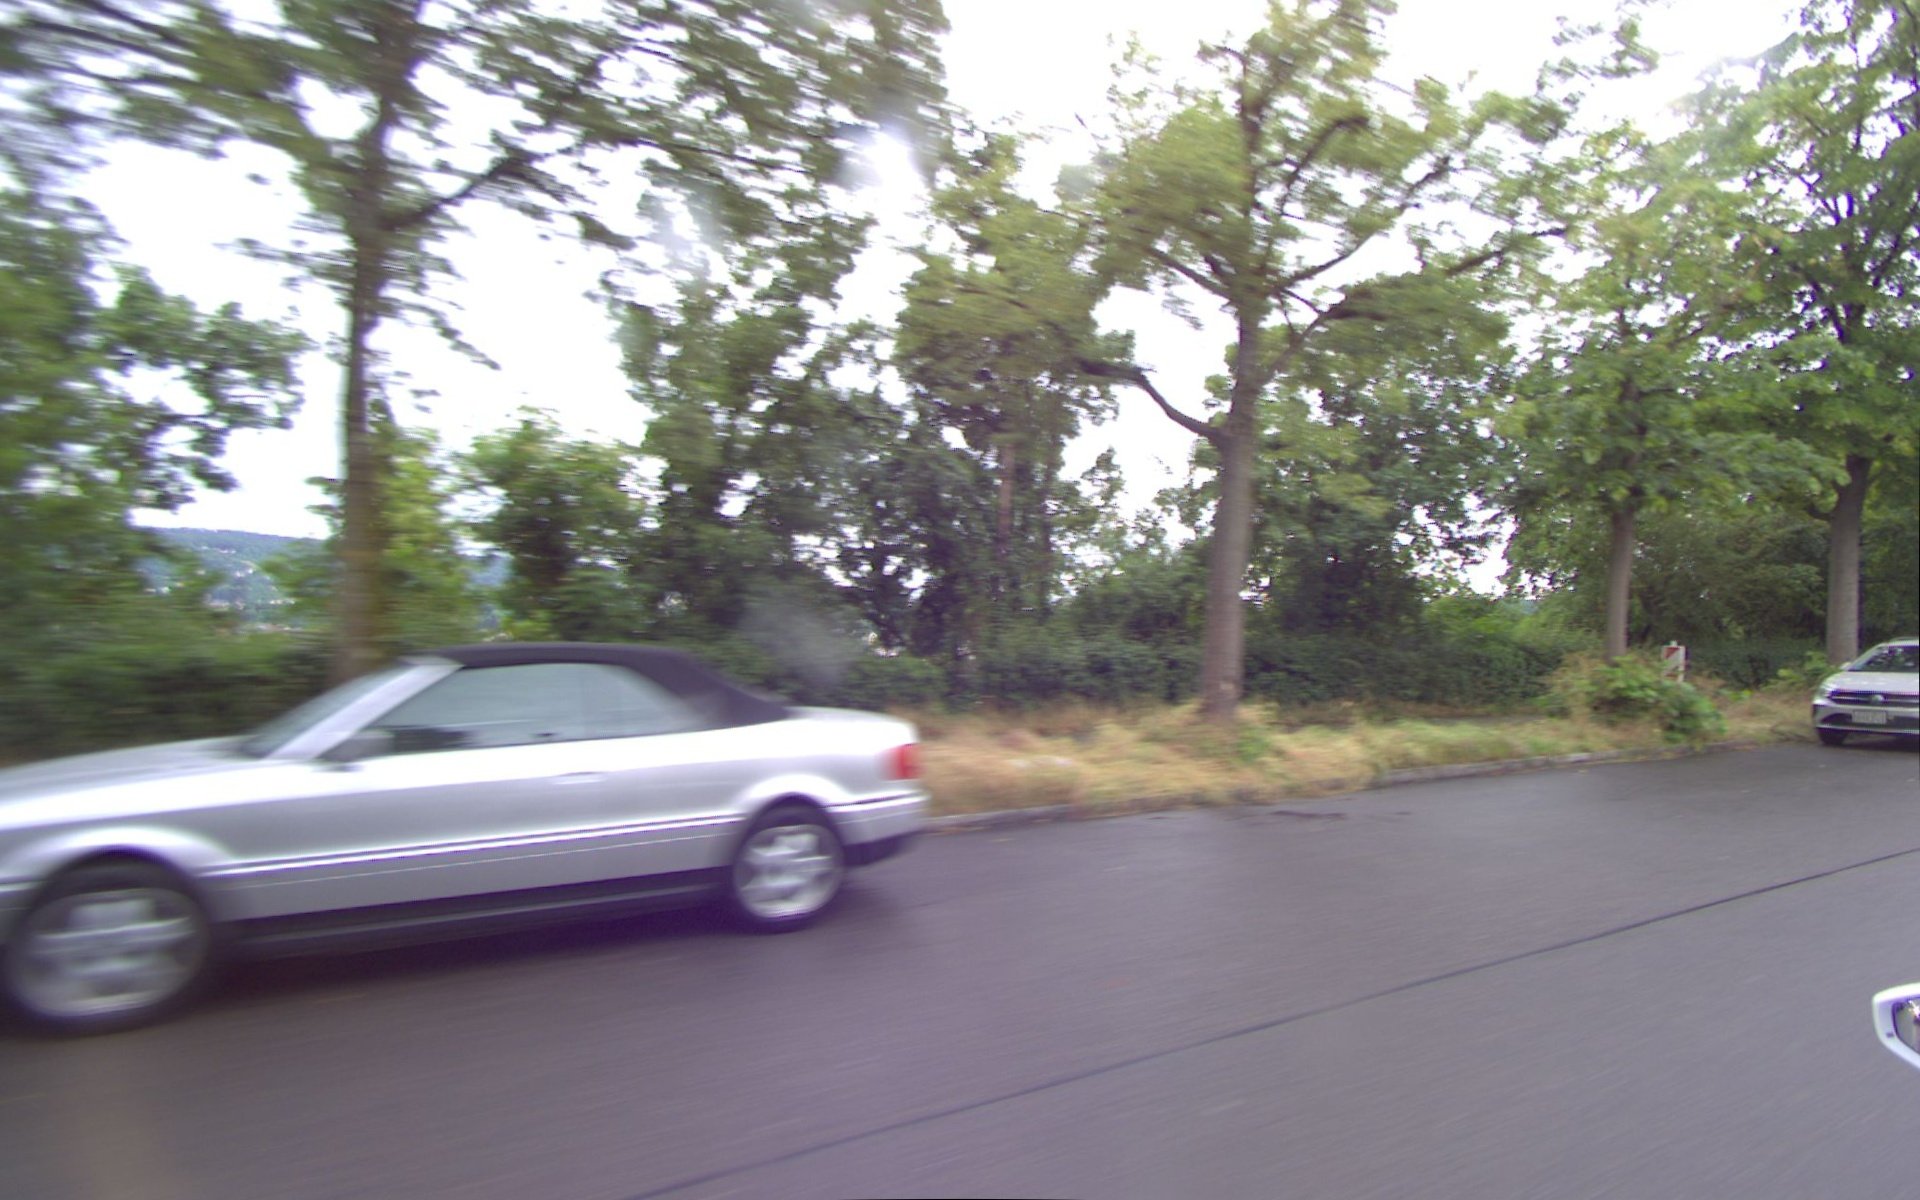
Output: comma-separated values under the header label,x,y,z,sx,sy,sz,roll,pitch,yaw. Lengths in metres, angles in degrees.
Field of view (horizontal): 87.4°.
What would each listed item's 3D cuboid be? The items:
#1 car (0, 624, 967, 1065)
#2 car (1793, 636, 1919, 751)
label,x,y,z,sx,sy,sz,roll,pitch,yaw
car,-2.287,0.864,4.791,4.367,1.420,1.747,1,-3,-30
car,13.987,1.303,14.417,4.203,1.456,1.682,2,-2,-28
